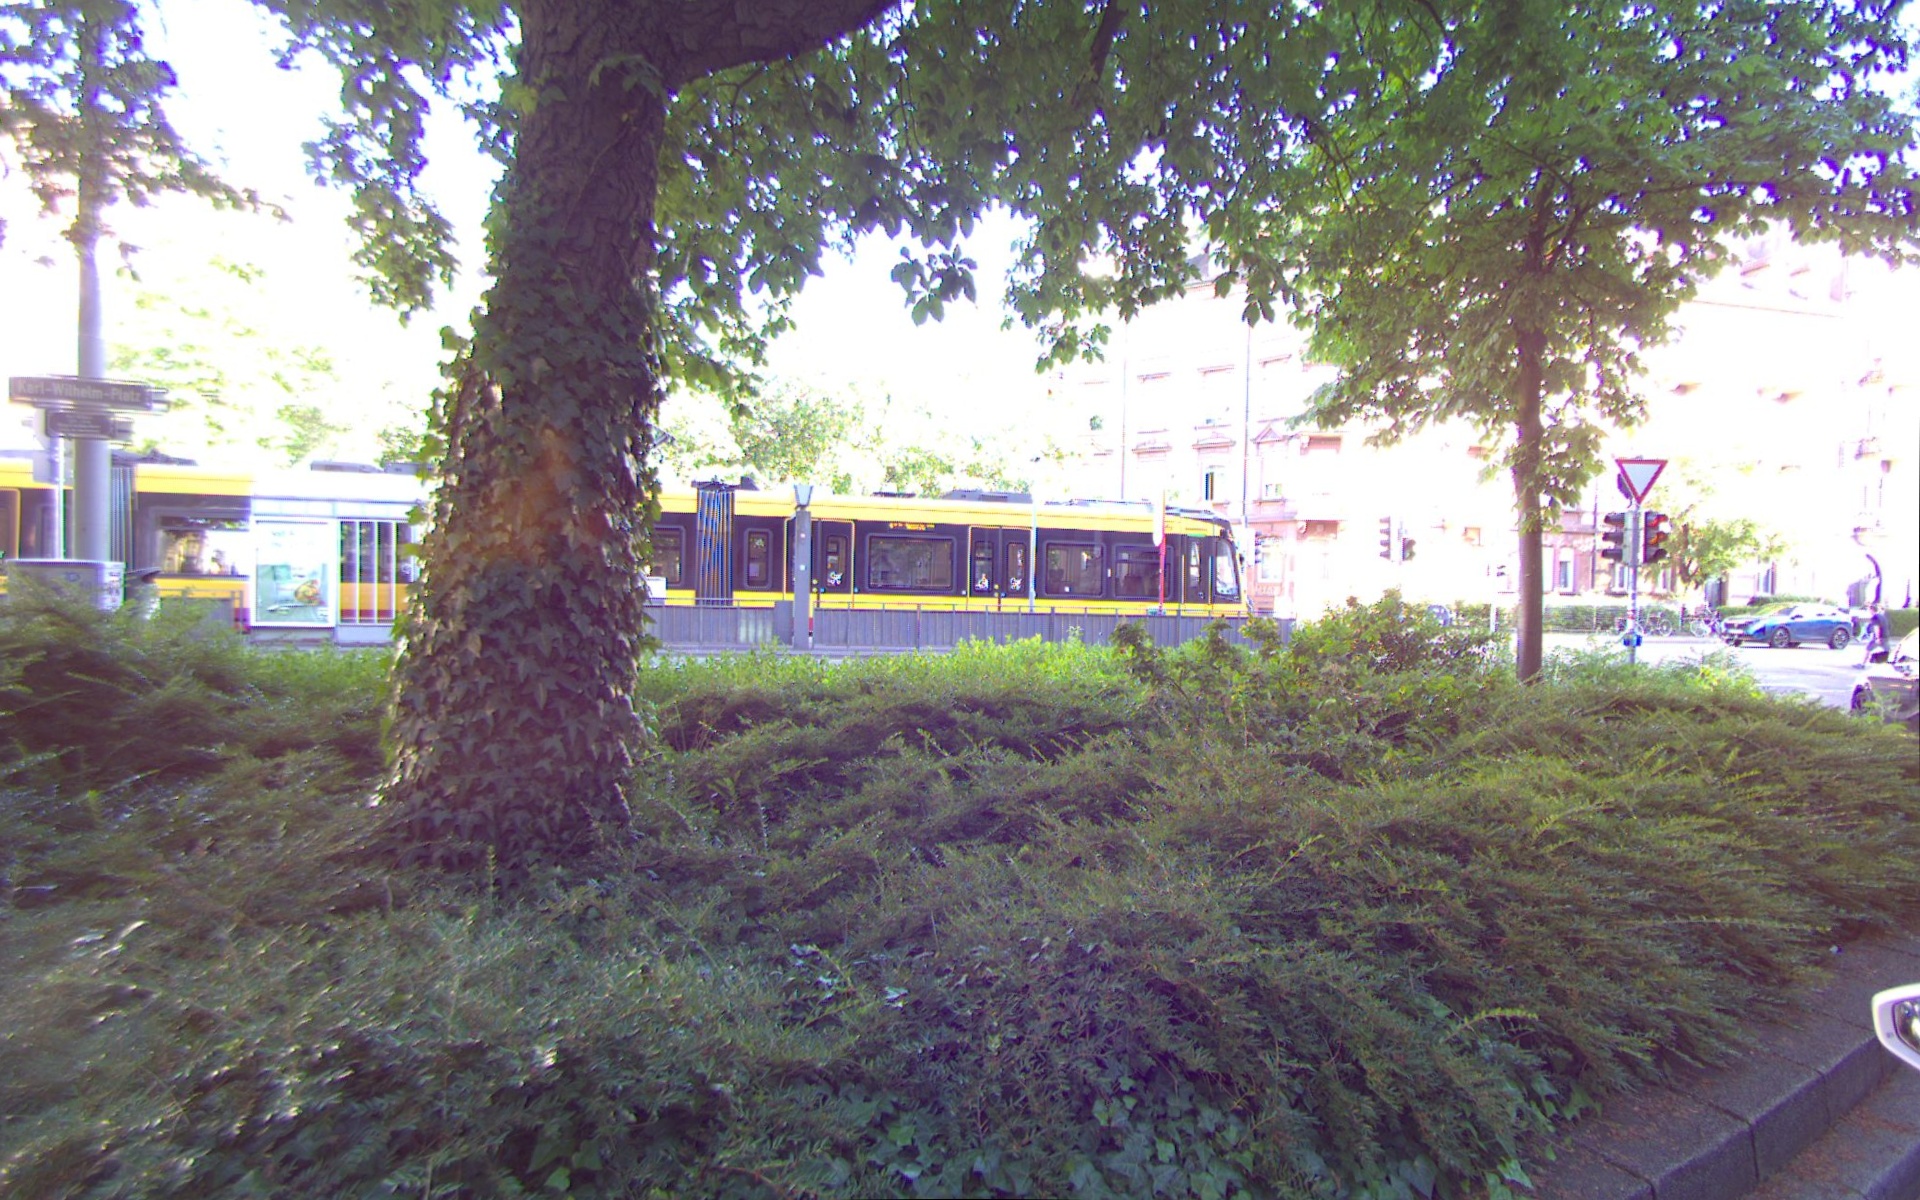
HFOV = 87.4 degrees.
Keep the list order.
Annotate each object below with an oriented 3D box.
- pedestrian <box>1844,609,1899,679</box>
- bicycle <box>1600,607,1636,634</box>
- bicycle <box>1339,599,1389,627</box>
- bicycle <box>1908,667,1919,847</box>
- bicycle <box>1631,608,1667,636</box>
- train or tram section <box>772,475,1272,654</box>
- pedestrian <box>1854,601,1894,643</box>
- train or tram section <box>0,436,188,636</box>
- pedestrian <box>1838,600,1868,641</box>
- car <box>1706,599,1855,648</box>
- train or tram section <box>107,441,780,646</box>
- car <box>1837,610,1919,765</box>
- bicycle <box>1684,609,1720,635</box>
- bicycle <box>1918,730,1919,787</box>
[{"bbox_3d":[22.898,1.083,25.248,0.891,1.657,0.722,5,4,40],"label":"pedestrian"},{"bbox_3d":[27.668,0.867,42.232,1.210,1.122,0.442,1,2,-7],"label":"bicycle"},{"bbox_3d":[17.578,0.566,43.733,1.928,1.122,0.443,3,2,22],"label":"bicycle"},{"bbox_3d":[6.083,1.011,5.429,0.705,1.122,1.966,2,1,23],"label":"bicycle"},{"bbox_3d":[29.058,0.936,42.377,1.210,1.122,0.442,1,2,-7],"label":"bicycle"},{"bbox_3d":[1.472,-0.711,24.068,11.598,3.668,2.793,1,1,-13],"label":"train or tram section"},{"bbox_3d":[38.178,0.904,41.974,0.880,1.688,0.712,1,4,5],"label":"pedestrian"},{"bbox_3d":[-22.137,-1.307,18.511,12.463,3.605,2.766,1,1,-13],"label":"train or tram section"},{"bbox_3d":[38.194,0.864,42.949,0.624,1.738,0.664,1,1,1],"label":"pedestrian"},{"bbox_3d":[30.039,0.854,36.830,4.333,1.672,1.944,1,1,-12],"label":"car"},{"bbox_3d":[-10.117,-1.008,21.336,12.206,3.635,2.779,1,1,-13],"label":"train or tram section"},{"bbox_3d":[10.794,0.895,10.322,1.762,1.562,3.855,0,0,27],"label":"car"},{"bbox_3d":[31.589,0.935,42.765,1.211,1.052,0.442,1,2,-8],"label":"bicycle"},{"bbox_3d":[7.924,1.004,7.524,0.799,1.200,2.218,2,1,37],"label":"bicycle"}]
